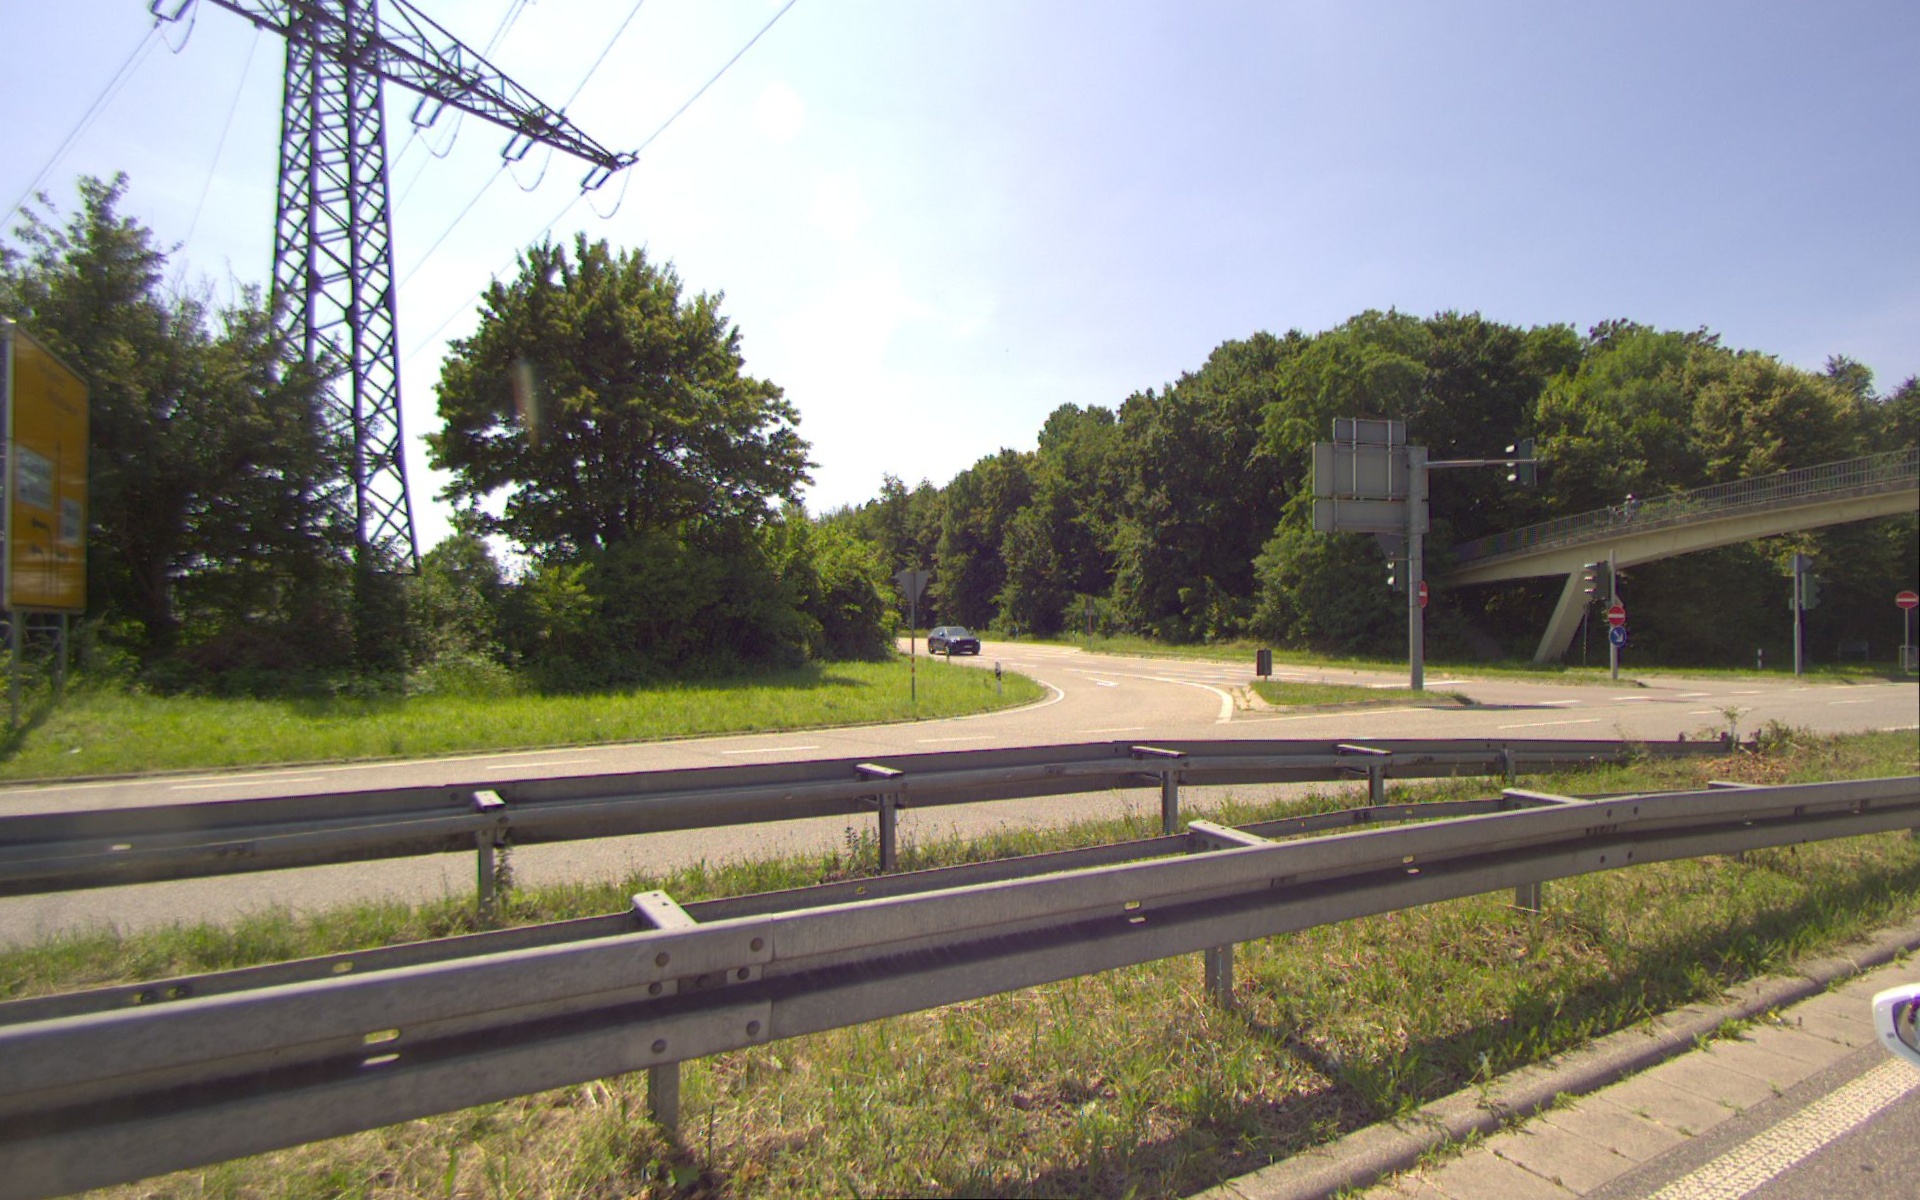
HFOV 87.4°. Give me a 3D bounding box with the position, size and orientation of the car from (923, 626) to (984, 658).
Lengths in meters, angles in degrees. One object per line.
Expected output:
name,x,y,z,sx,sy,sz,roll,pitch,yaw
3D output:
car,-0.458,2.498,60.367,2.017,1.721,5.063,-3,-1,-20
